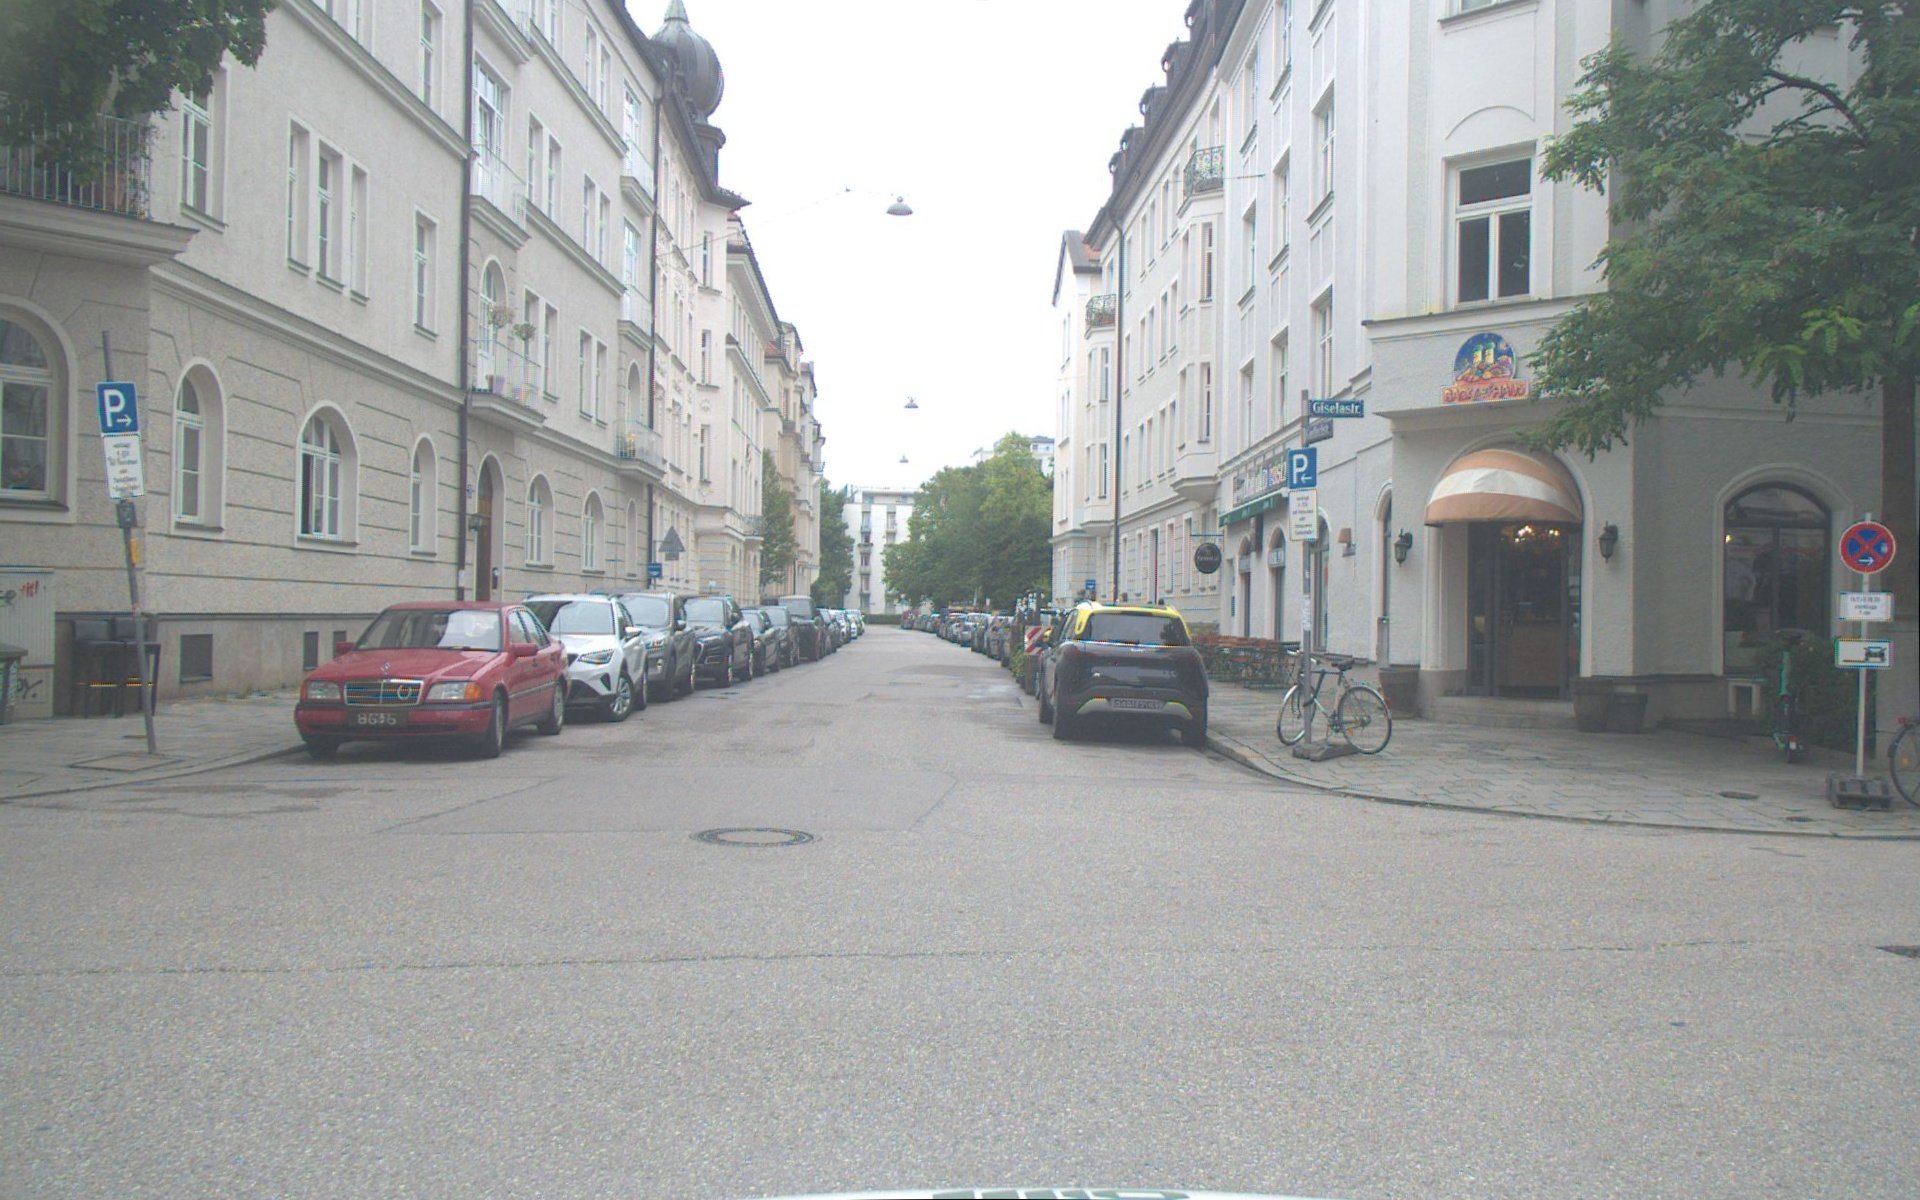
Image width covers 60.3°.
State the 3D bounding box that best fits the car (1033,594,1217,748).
[{"bbox_3d":[1.974,0.824,20.999,1.783,1.664,4.288,3,0,-1],"label":"car"}]

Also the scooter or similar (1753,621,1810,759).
[{"bbox_3d":[8.344,0.889,16.828,0.418,1.301,1.278,1,1,23],"label":"scooter or similar"}]

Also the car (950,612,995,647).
[{"bbox_3d":[0.575,1.401,79.074,1.868,1.604,3.997,1,0,-3],"label":"car"}]

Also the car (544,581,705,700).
[{"bbox_3d":[-5.176,0.600,25.999,1.954,1.705,4.009,1,0,-4],"label":"car"}]

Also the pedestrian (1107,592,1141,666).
[{"bbox_3d":[4.225,0.740,42.667,0.762,1.883,1.023,1,0,0],"label":"pedestrian"}]

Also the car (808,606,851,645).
[{"bbox_3d":[-5.582,1.077,71.102,1.784,1.601,3.997,1,0,-4],"label":"car"}]

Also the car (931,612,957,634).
[{"bbox_3d":[-1.345,1.862,134.925,1.911,1.681,3.997,-1,0,-3],"label":"car"}]

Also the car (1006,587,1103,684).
[{"bbox_3d":[2.036,0.758,36.773,1.783,1.957,4.182,3,0,-1],"label":"car"}]

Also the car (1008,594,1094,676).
[{"bbox_3d":[2.211,0.828,41.234,1.952,1.889,4.345,1,0,1],"label":"car"}]

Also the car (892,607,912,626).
[{"bbox_3d":[-6.526,1.868,185.391,1.954,2.017,4.888,1,0,-4],"label":"car"}]

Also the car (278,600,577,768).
[{"bbox_3d":[-4.999,0.723,16.142,1.696,1.402,4.224,1,0,-3],"label":"car"}]

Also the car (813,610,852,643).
[{"bbox_3d":[-5.918,1.216,77.049,1.699,1.444,3.997,1,0,-4],"label":"car"}]

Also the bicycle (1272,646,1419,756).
[{"bbox_3d":[4.015,1.031,17.344,0.532,1.016,1.742,-2,1,-24],"label":"bicycle"}]

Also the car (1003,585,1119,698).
[{"bbox_3d":[1.827,0.738,31.108,1.783,1.903,4.288,3,0,-1],"label":"car"}]

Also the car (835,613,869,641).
[{"bbox_3d":[-6.420,1.572,98.185,1.954,1.601,3.997,1,0,-4],"label":"car"}]

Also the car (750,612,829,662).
[{"bbox_3d":[-4.880,1.041,47.794,1.867,1.352,4.000,1,0,0],"label":"car"}]

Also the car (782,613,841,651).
[{"bbox_3d":[-5.295,1.126,59.529,1.868,1.243,3.998,1,0,-2],"label":"car"}]

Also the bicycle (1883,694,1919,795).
[{"bbox_3d":[8.509,1.188,13.719,1.383,0.796,0.544,-1,-1,7],"label":"bicycle"}]

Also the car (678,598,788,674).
[{"bbox_3d":[-5.043,0.777,37.180,1.886,1.573,4.000,1,0,0],"label":"car"}]

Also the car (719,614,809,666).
[{"bbox_3d":[-5.061,1.000,43.141,1.867,1.243,4.000,1,0,0],"label":"car"}]

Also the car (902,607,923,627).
[{"bbox_3d":[-5.062,1.802,174.228,1.954,2.017,4.888,1,0,-4],"label":"car"}]

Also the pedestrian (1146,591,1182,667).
[{"bbox_3d":[5.179,0.728,42.019,0.762,1.883,1.023,1,0,0],"label":"pedestrian"}]

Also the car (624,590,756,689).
[{"bbox_3d":[-4.953,0.695,30.892,1.954,1.705,4.286,1,0,-3],"label":"car"}]

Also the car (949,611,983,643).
[{"bbox_3d":[0.352,1.738,107.867,1.954,2.017,4.890,1,0,-3],"label":"car"}]

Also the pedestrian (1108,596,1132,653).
[{"bbox_3d":[5.394,0.819,55.848,0.761,1.883,0.860,1,0,7],"label":"pedestrian"}]

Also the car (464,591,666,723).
[{"bbox_3d":[-4.921,0.668,21.173,1.955,1.499,4.213,1,0,-6],"label":"car"}]

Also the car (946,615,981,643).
[{"bbox_3d":[0.181,1.543,89.792,1.695,1.442,3.849,1,0,-3],"label":"car"}]

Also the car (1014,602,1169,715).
[{"bbox_3d":[1.956,0.847,25.953,1.936,1.524,4.636,3,0,-1],"label":"car"}]
